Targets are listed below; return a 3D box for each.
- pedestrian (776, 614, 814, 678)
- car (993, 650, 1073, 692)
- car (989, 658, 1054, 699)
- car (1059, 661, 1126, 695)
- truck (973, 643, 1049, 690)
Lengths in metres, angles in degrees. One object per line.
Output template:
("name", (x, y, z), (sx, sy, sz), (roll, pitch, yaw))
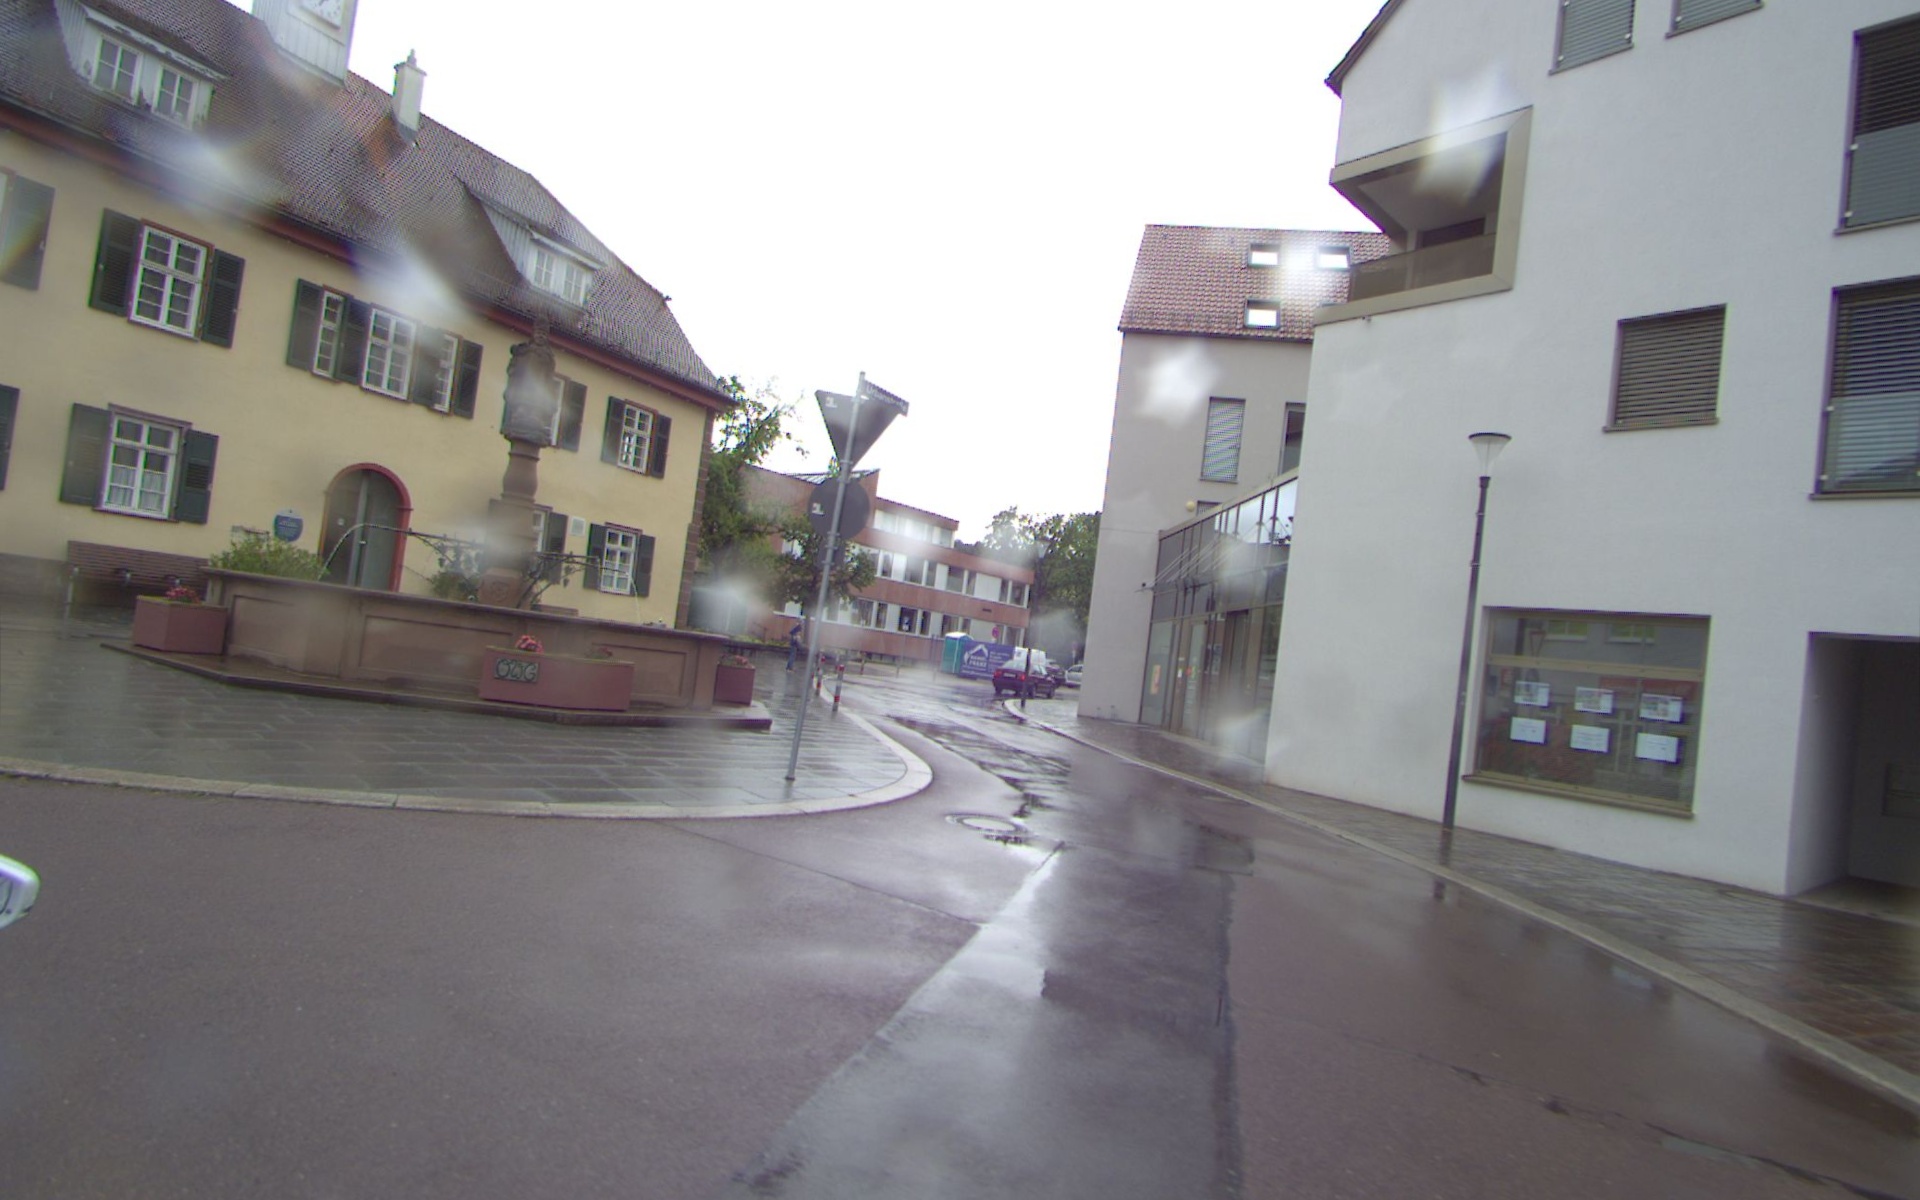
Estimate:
("pedestrian", (-5.021, 1.409, 30.587), (0.778, 1.843, 0.687), (7, -1, 4))
("car", (4.215, 4.088, 58.160), (3.933, 1.814, 1.998), (6, -2, 31))
("car", (2.542, 3.191, 40.973), (1.641, 1.379, 3.610), (7, -2, 18))
("car", (8.200, 4.821, 62.143), (3.489, 1.566, 1.862), (6, -2, 31))
("truck", (2.796, 3.641, 55.247), (3.489, 2.037, 1.862), (6, -2, 31))
